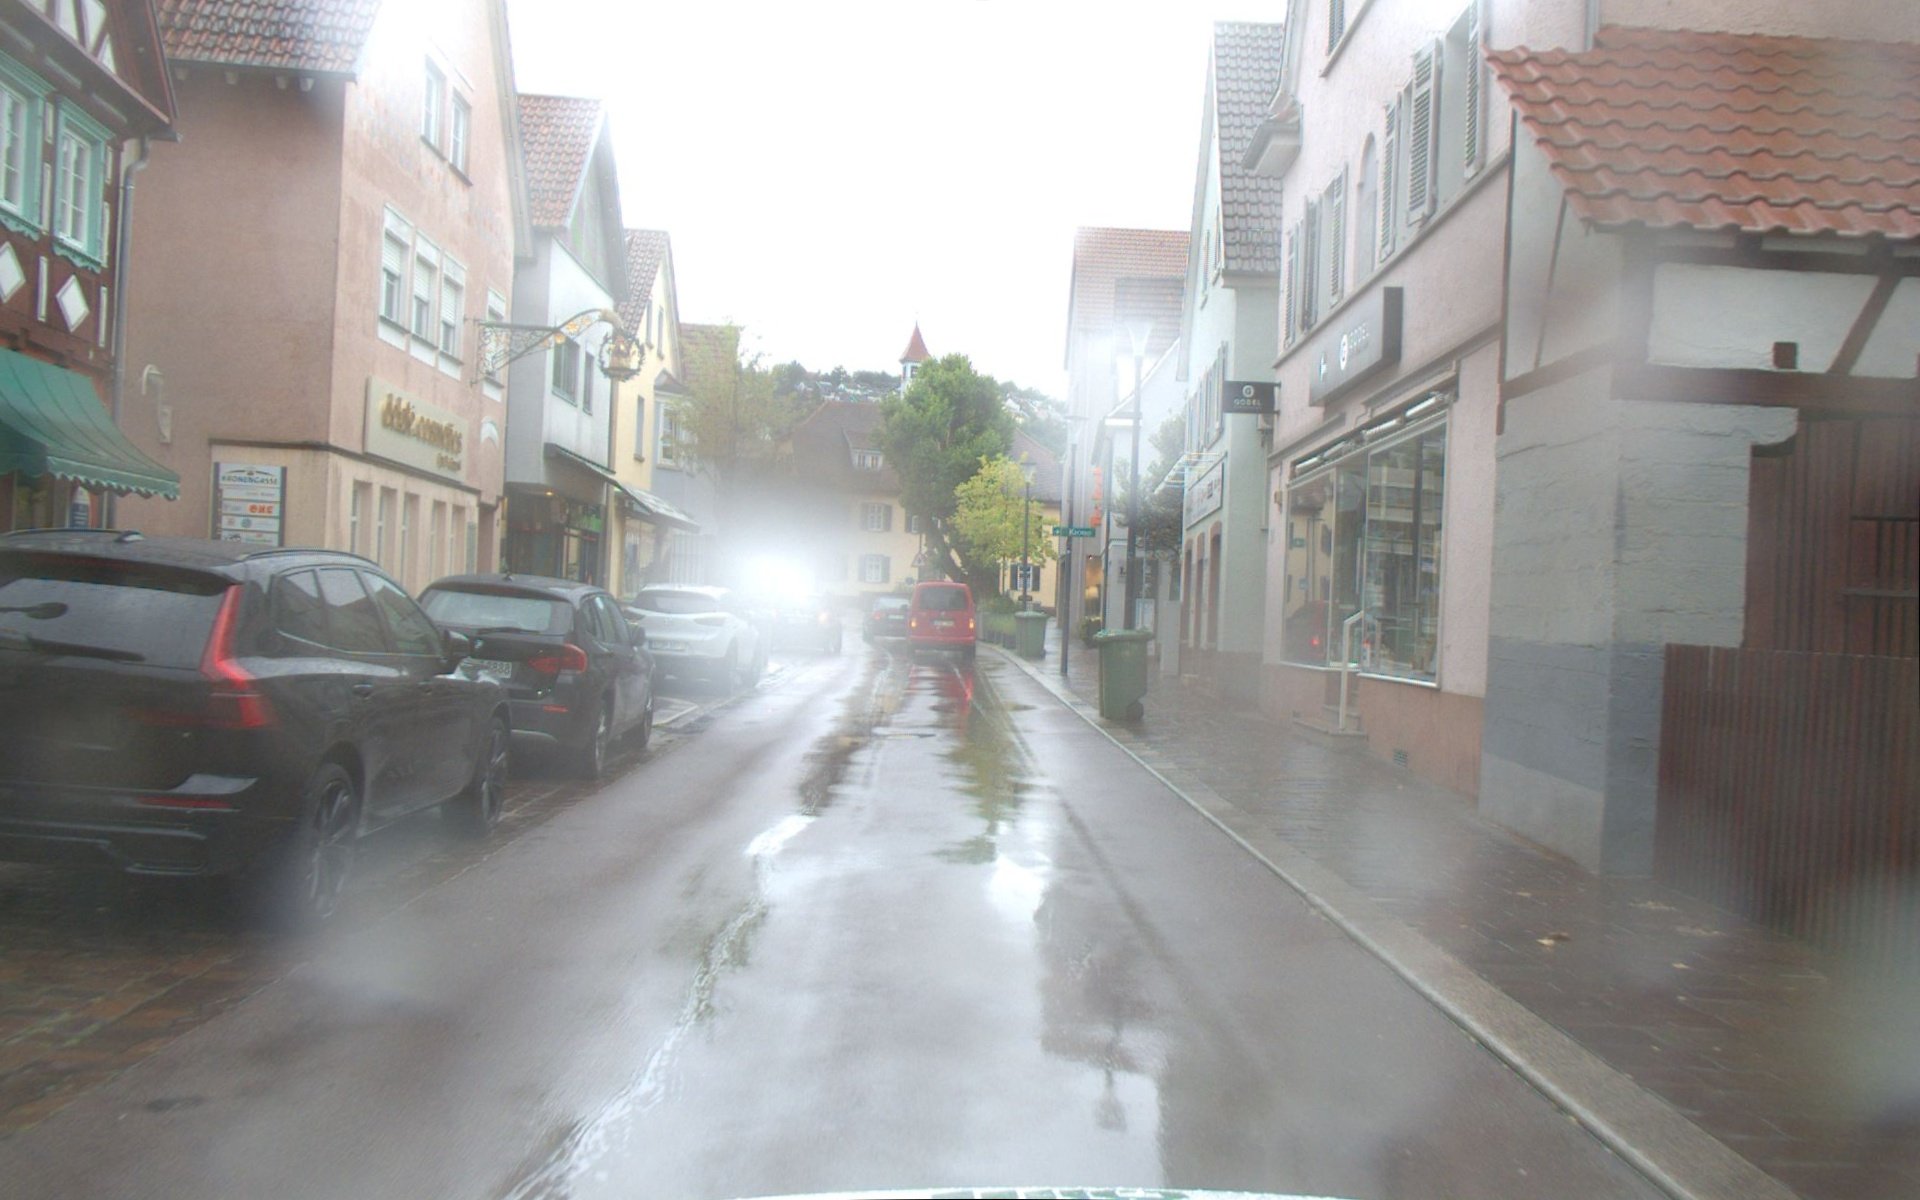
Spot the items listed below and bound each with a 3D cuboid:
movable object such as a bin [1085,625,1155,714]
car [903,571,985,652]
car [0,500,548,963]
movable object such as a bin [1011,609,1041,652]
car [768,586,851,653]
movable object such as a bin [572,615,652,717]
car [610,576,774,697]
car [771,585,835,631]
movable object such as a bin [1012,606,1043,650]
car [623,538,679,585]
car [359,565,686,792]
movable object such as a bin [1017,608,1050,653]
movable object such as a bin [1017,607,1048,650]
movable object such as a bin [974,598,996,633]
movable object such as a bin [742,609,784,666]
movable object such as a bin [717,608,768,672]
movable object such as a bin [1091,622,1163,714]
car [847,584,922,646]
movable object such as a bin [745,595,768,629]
[{"bbox_3d":[2.055,0.888,21.232,0.780,1.099,0.582,2,-1,-4],"label":"movable object such as a bin"},{"bbox_3d":[-0.363,0.245,42.122,1.855,1.842,4.001,4,1,0],"label":"car"},{"bbox_3d":[-3.582,0.486,8.567,1.787,1.695,4.640,3,0,-2],"label":"car"},{"bbox_3d":[1.784,0.833,44.779,0.720,1.117,0.611,3,-2,-1],"label":"movable object such as a bin"},{"bbox_3d":[-3.736,0.454,41.647,1.657,1.468,3.884,3,1,0],"label":"car"},{"bbox_3d":[-3.909,0.739,18.641,0.754,1.101,0.675,3,-1,-5],"label":"movable object such as a bin"},{"bbox_3d":[-3.975,0.484,25.144,1.657,1.564,4.121,4,1,1],"label":"car"},{"bbox_3d":[-5.907,0.285,62.033,1.757,1.521,3.986,4,0,-14],"label":"car"},{"bbox_3d":[1.799,0.751,44.160,0.720,1.117,0.611,3,-2,-1],"label":"movable object such as a bin"},{"bbox_3d":[-19.637,-2.393,104.742,2.266,2.647,6.916,4,-1,-20],"label":"car"},{"bbox_3d":[-3.610,0.547,14.461,1.744,1.564,4.289,4,1,-2],"label":"car"},{"bbox_3d":[1.883,0.792,42.338,0.752,1.098,0.599,3,-2,0],"label":"movable object such as a bin"},{"bbox_3d":[1.877,0.740,42.952,0.739,1.082,0.600,3,-2,0],"label":"movable object such as a bin"},{"bbox_3d":[0.855,0.533,56.867,0.620,1.170,0.578,3,-2,-8],"label":"movable object such as a bin"},{"bbox_3d":[-3.917,0.748,32.896,0.695,1.071,0.704,3,-2,0],"label":"movable object such as a bin"},{"bbox_3d":[-3.989,0.730,30.352,0.770,1.103,0.693,4,1,2],"label":"movable object such as a bin"},{"bbox_3d":[2.076,0.841,20.596,0.777,1.099,0.614,2,-1,-4],"label":"movable object such as a bin"},{"bbox_3d":[-2.462,0.497,53.217,1.956,1.831,3.992,3,-1,-8],"label":"car"},{"bbox_3d":[-7.098,0.413,57.654,0.712,1.129,0.595,3,-2,-9],"label":"movable object such as a bin"}]
